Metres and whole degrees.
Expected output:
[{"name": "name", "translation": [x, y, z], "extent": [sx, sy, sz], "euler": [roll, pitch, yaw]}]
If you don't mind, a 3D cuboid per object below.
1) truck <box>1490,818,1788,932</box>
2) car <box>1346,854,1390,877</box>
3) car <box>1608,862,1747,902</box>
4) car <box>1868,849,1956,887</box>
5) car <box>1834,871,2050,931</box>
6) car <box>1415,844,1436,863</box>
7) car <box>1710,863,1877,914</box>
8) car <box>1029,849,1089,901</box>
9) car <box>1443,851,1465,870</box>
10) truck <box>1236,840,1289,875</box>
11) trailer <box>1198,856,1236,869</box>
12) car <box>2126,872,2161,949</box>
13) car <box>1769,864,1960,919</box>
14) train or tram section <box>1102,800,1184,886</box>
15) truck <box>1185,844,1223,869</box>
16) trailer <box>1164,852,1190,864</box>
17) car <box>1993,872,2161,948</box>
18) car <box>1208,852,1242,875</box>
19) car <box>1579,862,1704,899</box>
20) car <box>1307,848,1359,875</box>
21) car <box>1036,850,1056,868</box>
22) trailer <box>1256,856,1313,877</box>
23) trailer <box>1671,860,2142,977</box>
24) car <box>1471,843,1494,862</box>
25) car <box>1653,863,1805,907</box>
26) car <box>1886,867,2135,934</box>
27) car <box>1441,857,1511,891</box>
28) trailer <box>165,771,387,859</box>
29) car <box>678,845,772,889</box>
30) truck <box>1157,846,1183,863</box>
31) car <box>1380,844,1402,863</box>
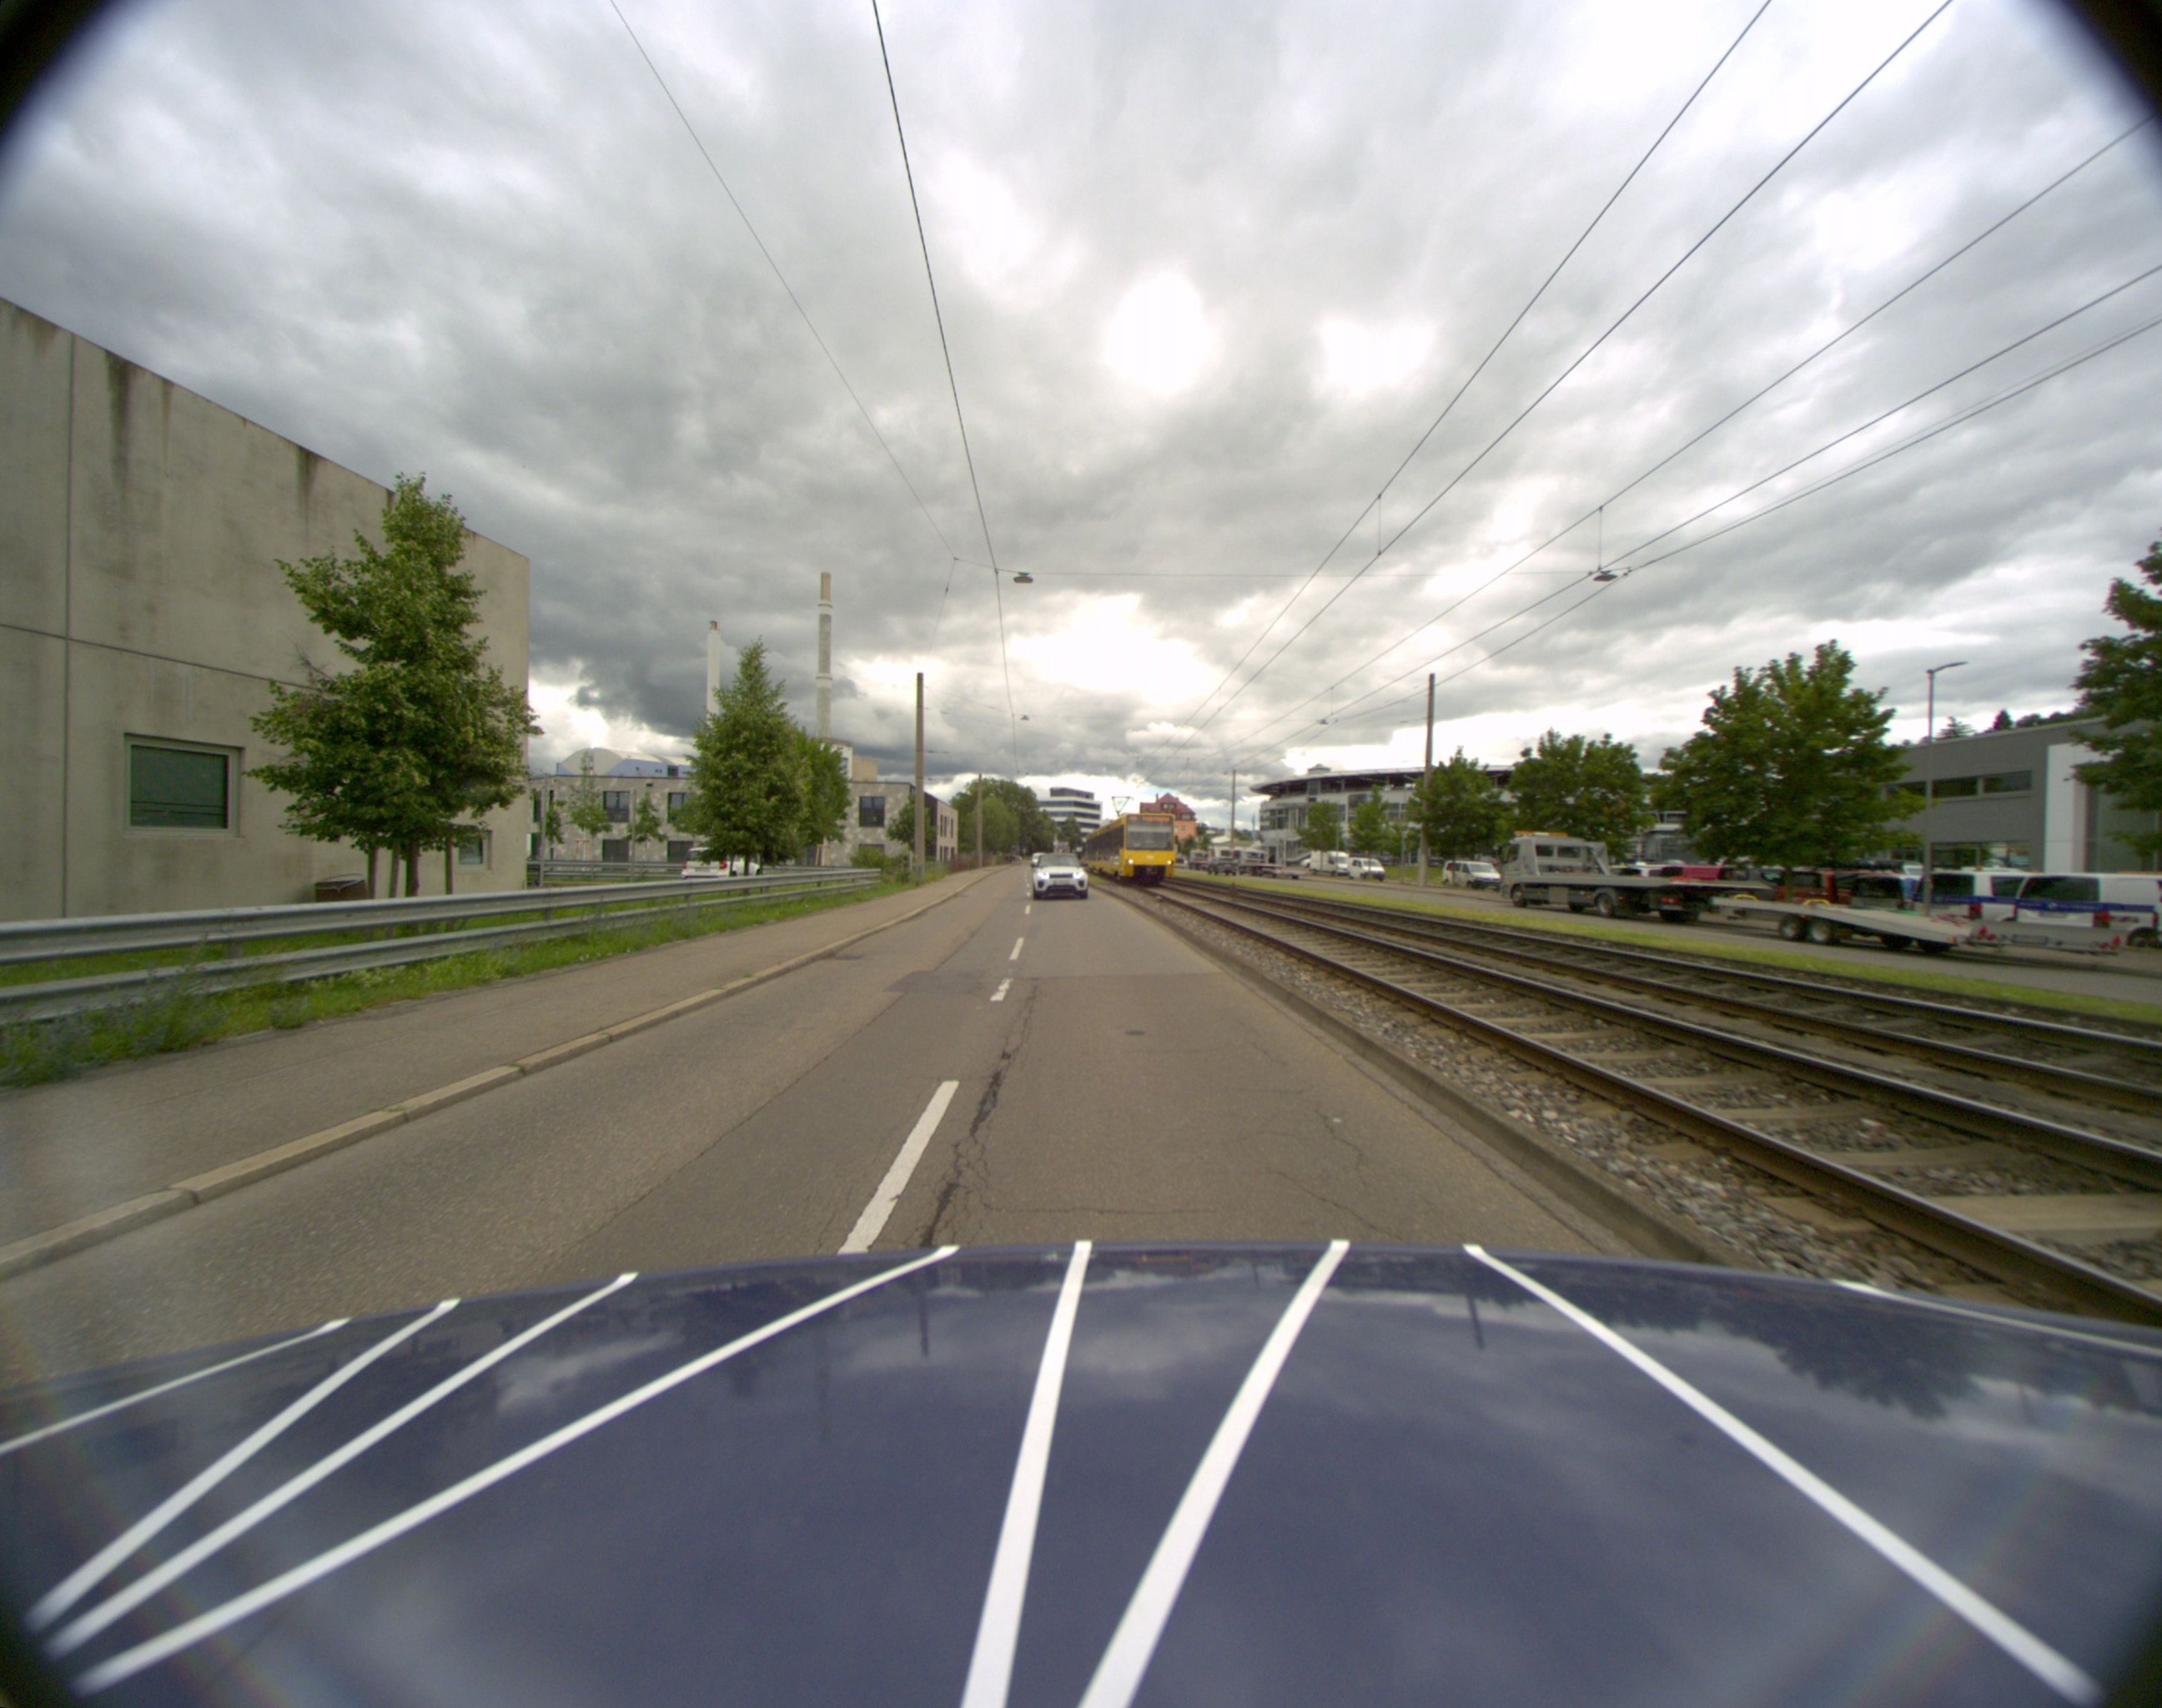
[{"name": "truck", "translation": [16.517, 0.511, 23.756], "extent": [2.762, 2.726, 9.220], "euler": [3, 0, 3]}, {"name": "car", "translation": [25.361, 0.978, 67.410], "extent": [1.999, 2.002, 4.807], "euler": [1, 0, -1]}, {"name": "car", "translation": [26.429, 1.204, 33.814], "extent": [4.353, 1.608, 2.121], "euler": [1, 0, 7]}, {"name": "car", "translation": [49.565, 0.766, 45.479], "extent": [1.994, 2.116, 4.870], "euler": [1, 1, 28]}, {"name": "car", "translation": [25.978, 1.390, 23.071], "extent": [3.994, 1.608, 2.001], "euler": [1, 0, 7]}, {"name": "car", "translation": [37.805, -0.002, 83.289], "extent": [1.995, 2.002, 4.007], "euler": [1, 0, 25]}, {"name": "car", "translation": [25.884, 1.221, 27.756], "extent": [3.994, 1.655, 2.049], "euler": [1, 0, 7]}, {"name": "car", "translation": [-0.816, 0.693, 27.557], "extent": [1.999, 1.718, 3.999], "euler": [-1, 0, -2]}, {"name": "car", "translation": [40.441, 0.686, 82.409], "extent": [1.995, 2.002, 4.007], "euler": [1, 1, 25]}, {"name": "truck", "translation": [17.034, 0.304, 71.882], "extent": [2.871, 2.964, 8.453], "euler": [3, 0, 0]}, {"name": "trailer", "translation": [16.328, 1.032, 91.568], "extent": [3.057, 1.270, 7.004], "euler": [3, 0, -2]}, {"name": "car", "translation": [24.818, 1.227, 15.390], "extent": [4.376, 1.608, 2.004], "euler": [1, 0, 2]}, {"name": "car", "translation": [25.745, 1.197, 25.119], "extent": [3.994, 1.608, 2.001], "euler": [1, 0, 7]}, {"name": "train or tram section", "translation": [3.120, -0.604, 44.022], "extent": [3.397, 3.984, 16.941], "euler": [-1, 1, 0]}, {"name": "truck", "translation": [16.007, 0.280, 99.543], "extent": [3.116, 2.904, 8.959], "euler": [3, 0, -3]}, {"name": "trailer", "translation": [15.080, 0.598, 119.687], "extent": [2.985, 1.678, 7.567], "euler": [1, 0, -1]}, {"name": "car", "translation": [24.820, 1.298, 17.872], "extent": [3.994, 1.608, 2.001], "euler": [1, 0, 7]}, {"name": "car", "translation": [12.616, 0.795, 66.835], "extent": [1.999, 1.729, 4.532], "euler": [3, 1, -1]}, {"name": "car", "translation": [27.009, 1.250, 36.741], "extent": [4.345, 1.608, 2.155], "euler": [1, 0, 7]}, {"name": "car", "translation": [24.350, 0.700, 73.718], "extent": [2.001, 2.546, 5.856], "euler": [1, 0, -12]}, {"name": "car", "translation": [-3.859, 0.508, 82.319], "extent": [1.999, 1.881, 4.624], "euler": [1, 0, -5]}, {"name": "trailer", "translation": [16.999, 0.974, 64.034], "extent": [2.765, 1.486, 7.224], "euler": [3, 0, -1]}, {"name": "trailer", "translation": [16.020, 1.066, 15.759], "extent": [2.388, 1.688, 6.949], "euler": [3, 1, 3]}, {"name": "car", "translation": [43.825, -0.119, 82.930], "extent": [1.995, 2.002, 4.007], "euler": [1, 1, 25]}, {"name": "car", "translation": [25.941, 1.216, 30.572], "extent": [4.186, 1.608, 2.064], "euler": [1, 0, 7]}, {"name": "car", "translation": [25.093, 1.217, 20.674], "extent": [3.994, 1.608, 2.001], "euler": [1, 0, 7]}, {"name": "car", "translation": [25.351, 1.227, 48.972], "extent": [1.998, 2.002, 4.860], "euler": [1, 1, 0]}, {"name": "trailer", "translation": [-42.103, -1.811, 40.359], "extent": [2.948, 4.047, 8.693], "euler": [1, -1, -5]}, {"name": "car", "translation": [-13.811, 0.485, 29.788], "extent": [1.754, 1.564, 4.429], "euler": [-1, 0, -2]}, {"name": "truck", "translation": [14.887, 0.068, 128.010], "extent": [3.058, 2.843, 9.065], "euler": [1, 0, -2]}, {"name": "car", "translation": [34.773, -0.030, 85.159], "extent": [1.995, 2.002, 4.007], "euler": [1, 0, 25]}]
